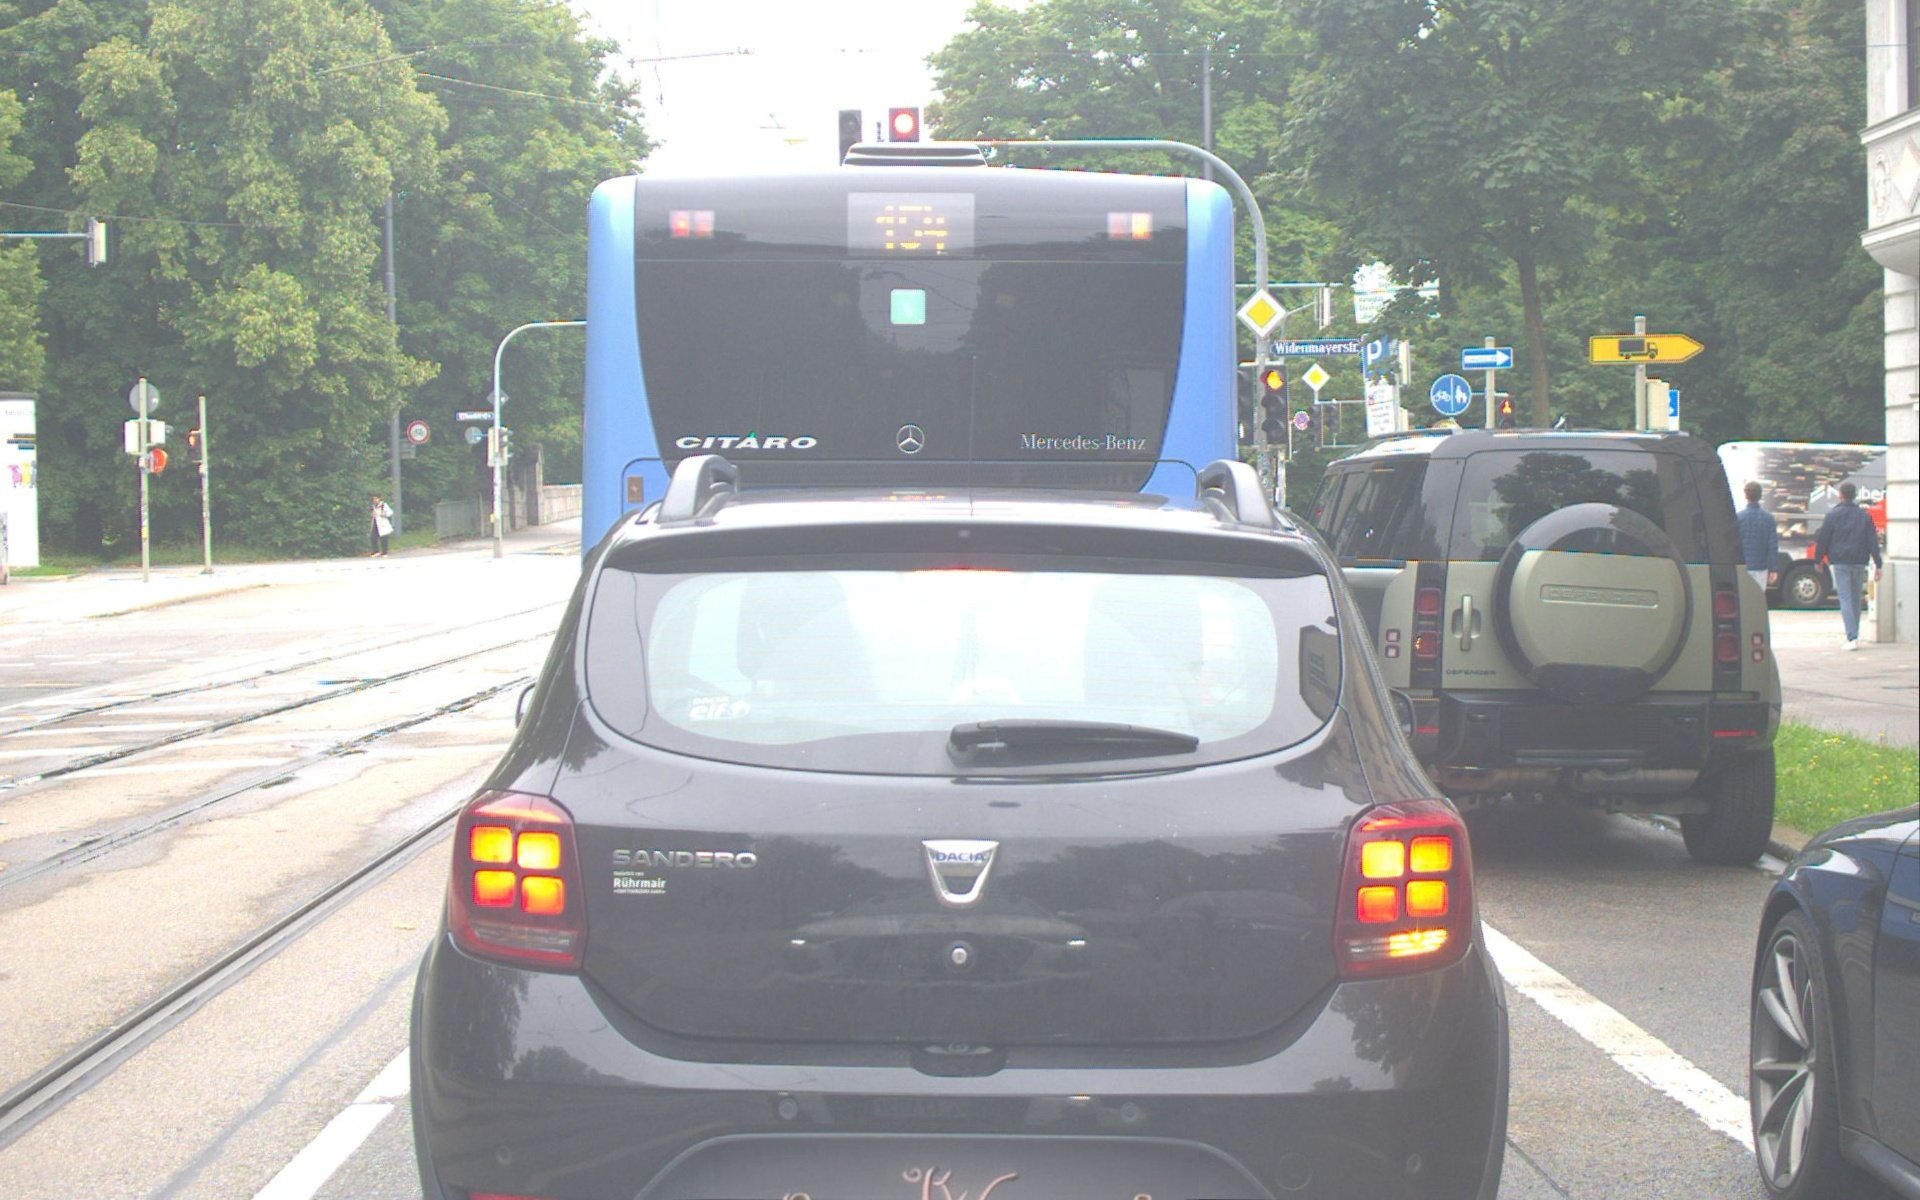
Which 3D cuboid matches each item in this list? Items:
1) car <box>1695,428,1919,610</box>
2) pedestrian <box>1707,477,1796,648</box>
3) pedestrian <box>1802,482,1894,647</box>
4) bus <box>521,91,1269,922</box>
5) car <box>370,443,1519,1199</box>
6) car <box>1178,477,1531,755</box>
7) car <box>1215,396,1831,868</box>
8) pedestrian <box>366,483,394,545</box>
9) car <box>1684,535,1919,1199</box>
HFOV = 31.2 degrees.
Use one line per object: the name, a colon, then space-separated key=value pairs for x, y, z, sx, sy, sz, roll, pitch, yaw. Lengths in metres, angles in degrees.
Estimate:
car: x=13.949 y=-1.181 z=51.443 sx=5.295 sy=2.603 sz=2.231 roll=1 pitch=1 yaw=-3
pedestrian: x=8.514 y=-0.405 z=36.999 sx=0.705 sy=1.810 sz=0.870 roll=1 pitch=1 yaw=-1
pedestrian: x=9.432 y=-0.382 z=36.540 sx=0.705 sy=1.726 sz=0.843 roll=1 pitch=1 yaw=-1
bus: x=-0.380 y=-0.400 z=16.062 sx=2.678 sy=2.987 sz=6.962 roll=1 pitch=1 yaw=-2
car: x=-0.061 y=0.538 z=6.615 sx=1.600 sy=1.551 sz=3.525 roll=1 pitch=1 yaw=-1
car: x=2.442 y=0.054 z=22.238 sx=1.714 sy=1.586 sz=4.327 roll=1 pitch=1 yaw=-1
car: x=2.489 y=0.087 z=16.496 sx=1.914 sy=1.899 sz=4.809 roll=1 pitch=1 yaw=-3
pedestrian: x=-14.225 y=-2.114 z=84.299 sx=0.532 sy=1.496 sz=0.588 roll=1 pitch=1 yaw=4
car: x=2.635 y=0.619 z=5.851 sx=1.716 sy=1.421 sz=4.603 roll=1 pitch=1 yaw=-1
